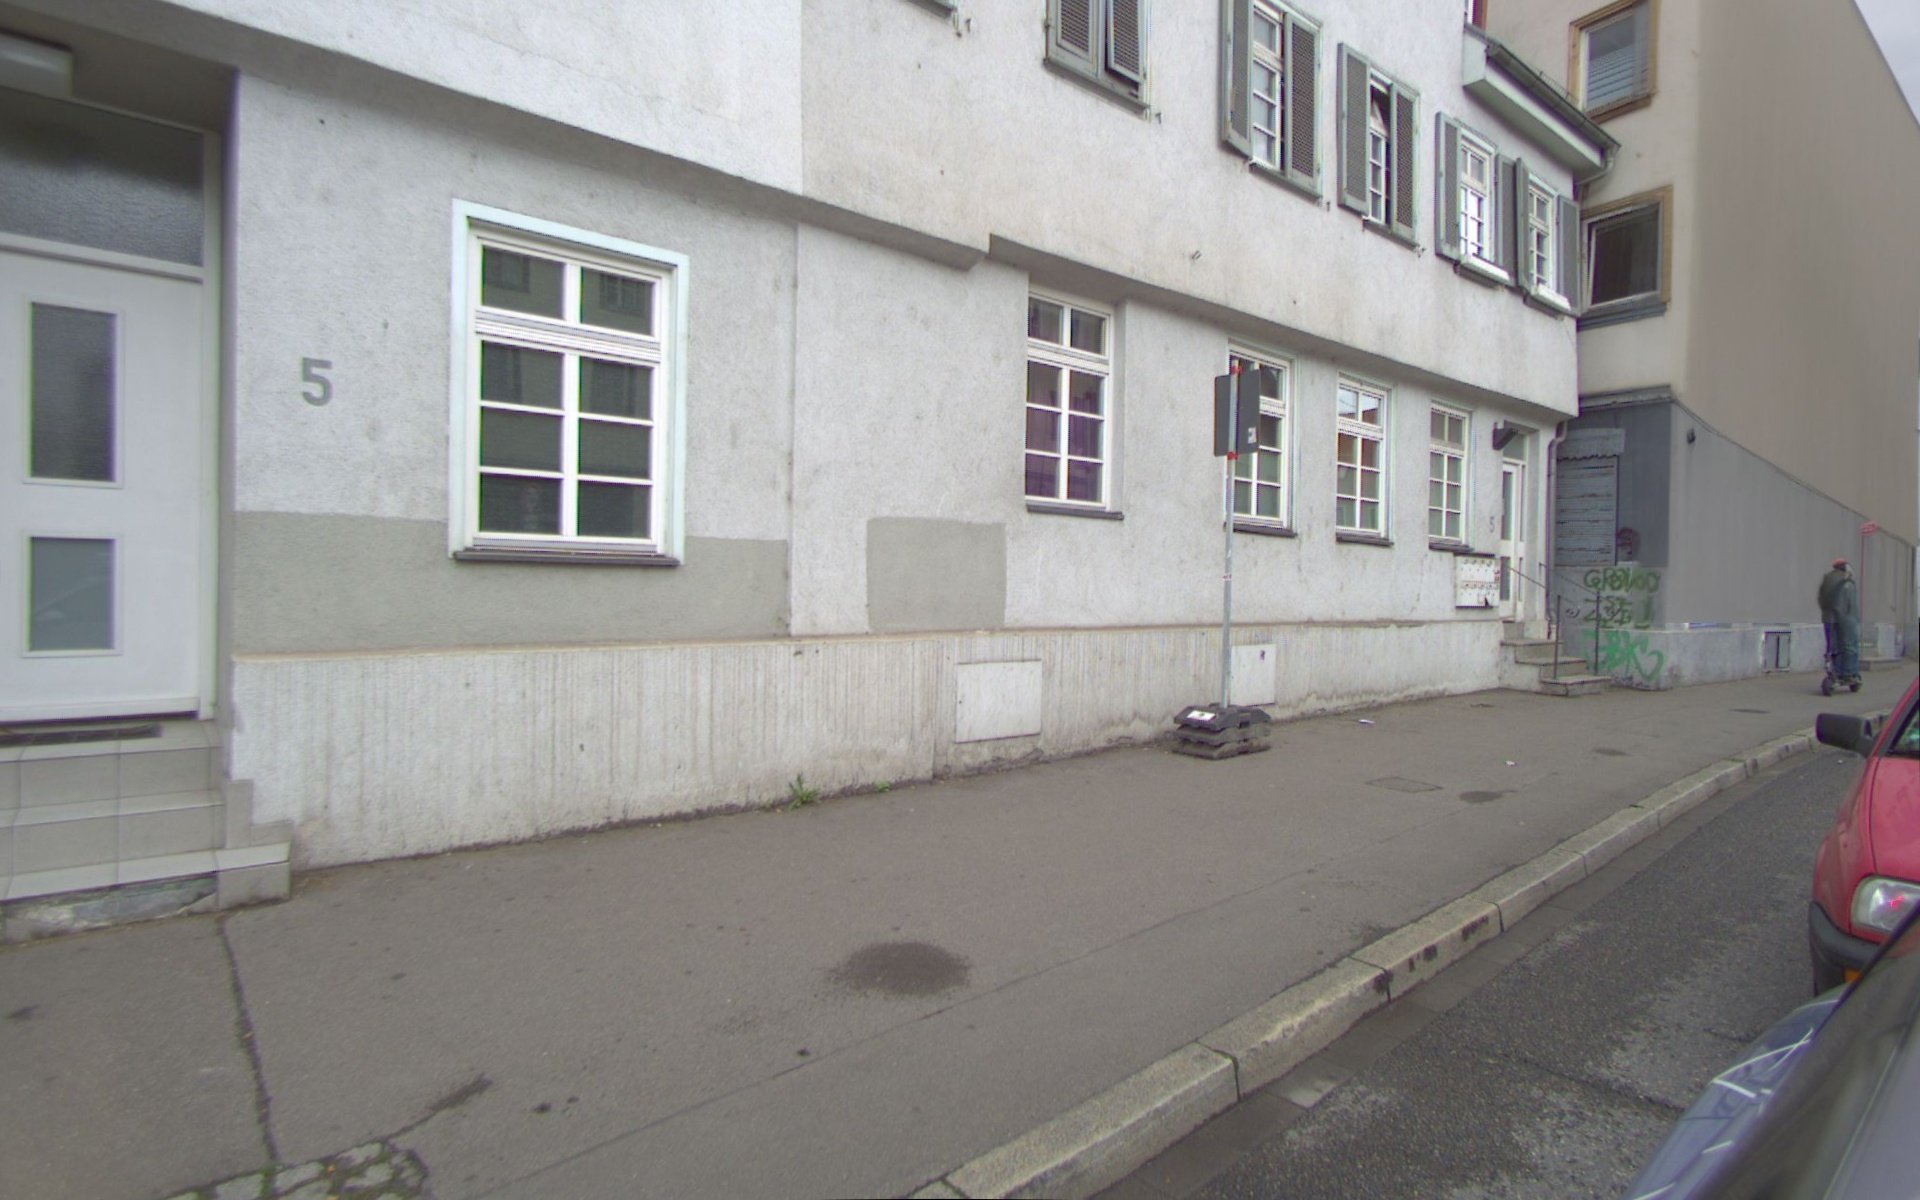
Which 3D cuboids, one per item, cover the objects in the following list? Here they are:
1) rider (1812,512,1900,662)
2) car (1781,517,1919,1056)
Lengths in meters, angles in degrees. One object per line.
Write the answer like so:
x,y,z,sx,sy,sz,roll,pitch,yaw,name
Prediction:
11.662,-0.174,13.171,0.783,1.870,0.719,1,1,-41,rider
4.456,0.561,3.537,3.928,1.444,1.791,2,-1,-41,car
